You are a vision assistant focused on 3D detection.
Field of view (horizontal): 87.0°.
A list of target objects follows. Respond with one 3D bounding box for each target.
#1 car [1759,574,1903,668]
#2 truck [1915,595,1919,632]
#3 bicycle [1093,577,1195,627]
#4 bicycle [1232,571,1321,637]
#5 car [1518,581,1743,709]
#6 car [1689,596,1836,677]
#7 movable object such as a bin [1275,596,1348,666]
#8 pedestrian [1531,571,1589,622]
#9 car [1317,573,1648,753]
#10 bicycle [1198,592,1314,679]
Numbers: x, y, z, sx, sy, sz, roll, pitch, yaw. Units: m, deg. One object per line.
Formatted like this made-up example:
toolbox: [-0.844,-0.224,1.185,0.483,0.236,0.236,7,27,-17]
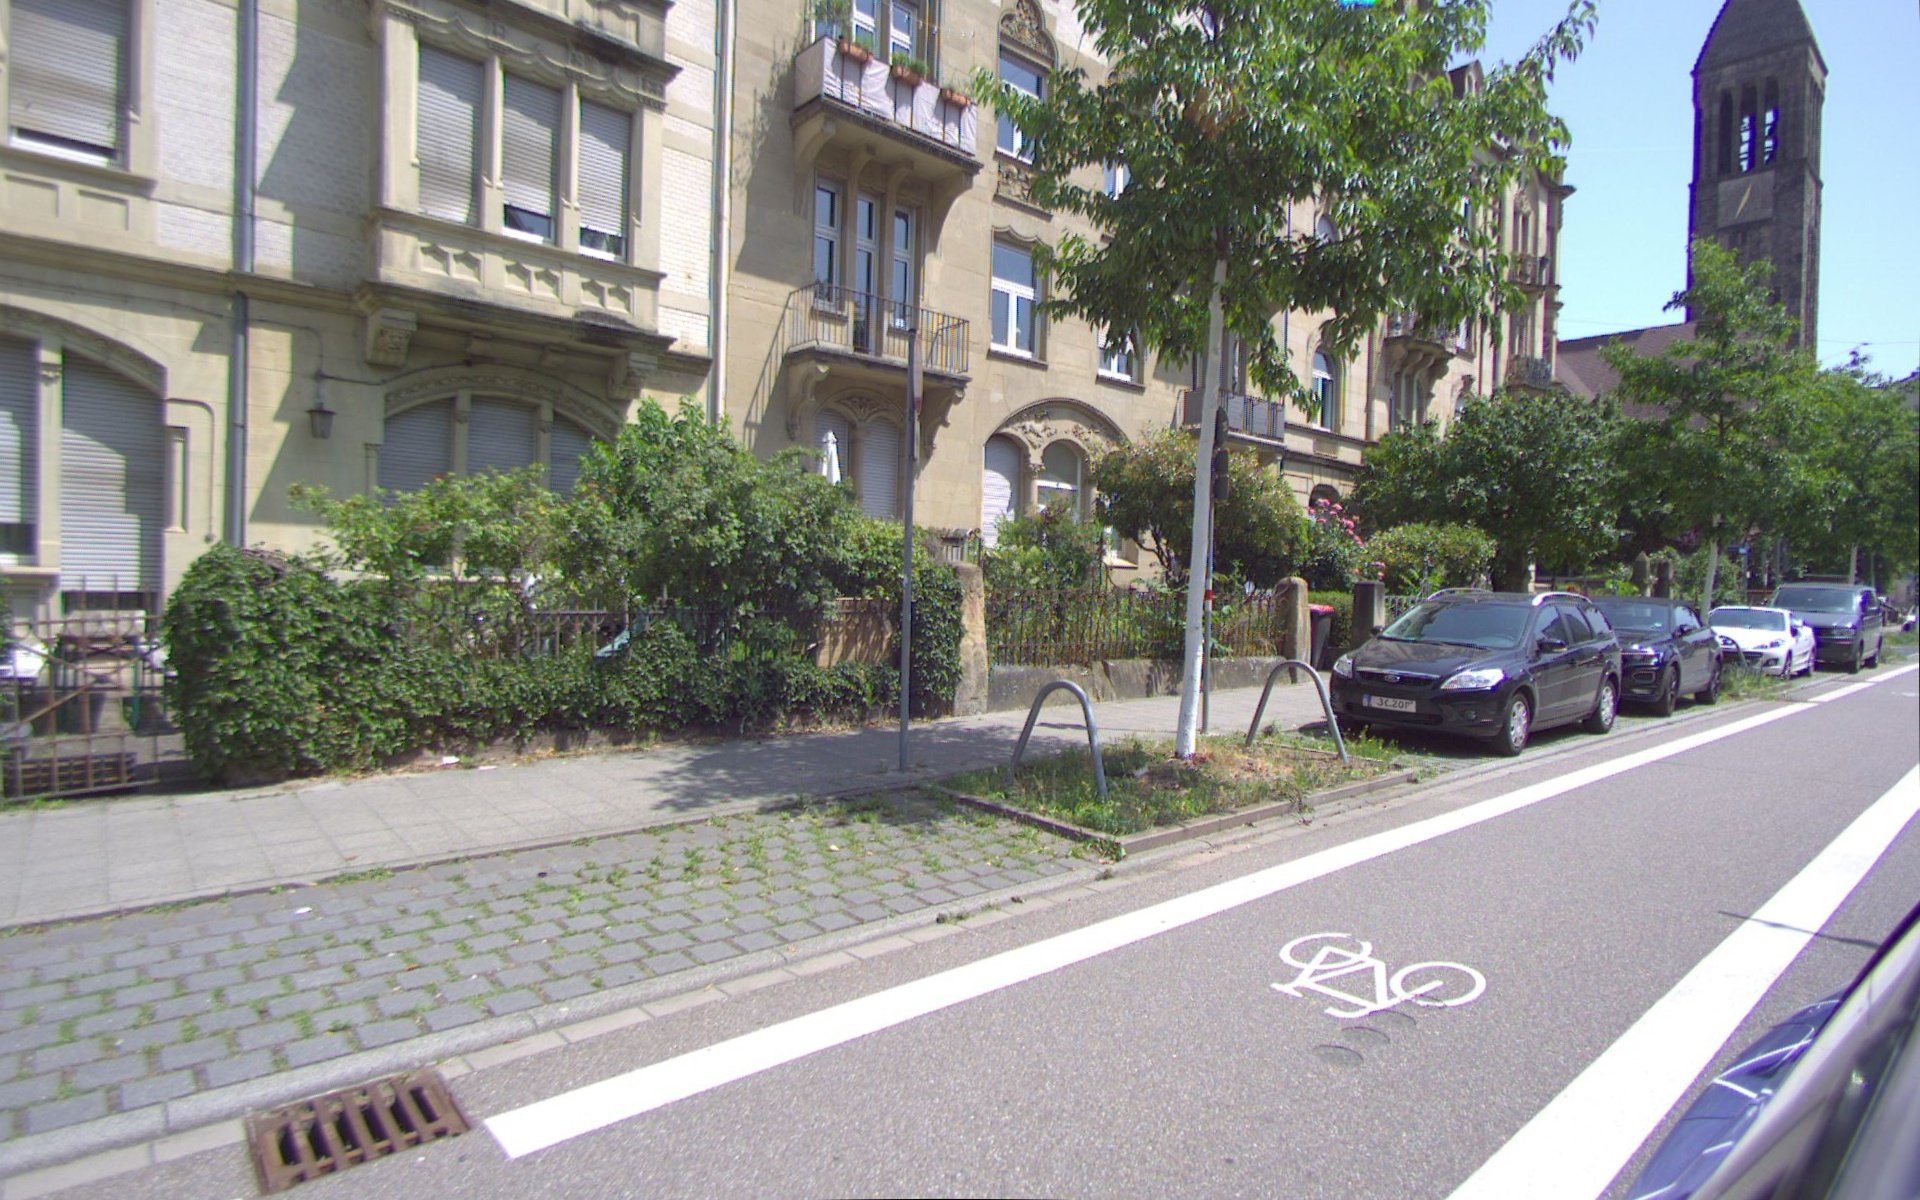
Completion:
car: [20.624,0.433,23.890,4.752,1.971,1.883,0,2,-41]
truck: [43.090,0.594,44.252,4.392,1.545,1.791,0,1,-45]
bicycle: [3.917,0.040,21.360,2.712,0.998,0.584,0,1,-42]
bicycle: [6.847,0.085,21.774,2.645,1.349,0.565,0,1,-43]
car: [9.602,0.547,14.383,3.943,1.550,1.670,0,1,-41]
car: [16.169,0.666,20.333,3.930,1.423,1.614,0,1,-41]
movable object such as a bin: [5.923,0.503,17.059,0.815,1.082,0.804,0,4,-41]
pedestrian: [13.018,-0.089,21.965,0.747,1.083,0.868,0,1,-37]
car: [5.730,0.530,10.848,4.328,1.555,1.732,0,1,-42]
bicycle: [4.430,0.505,15.263,0.337,1.089,1.693,1,5,-40]
